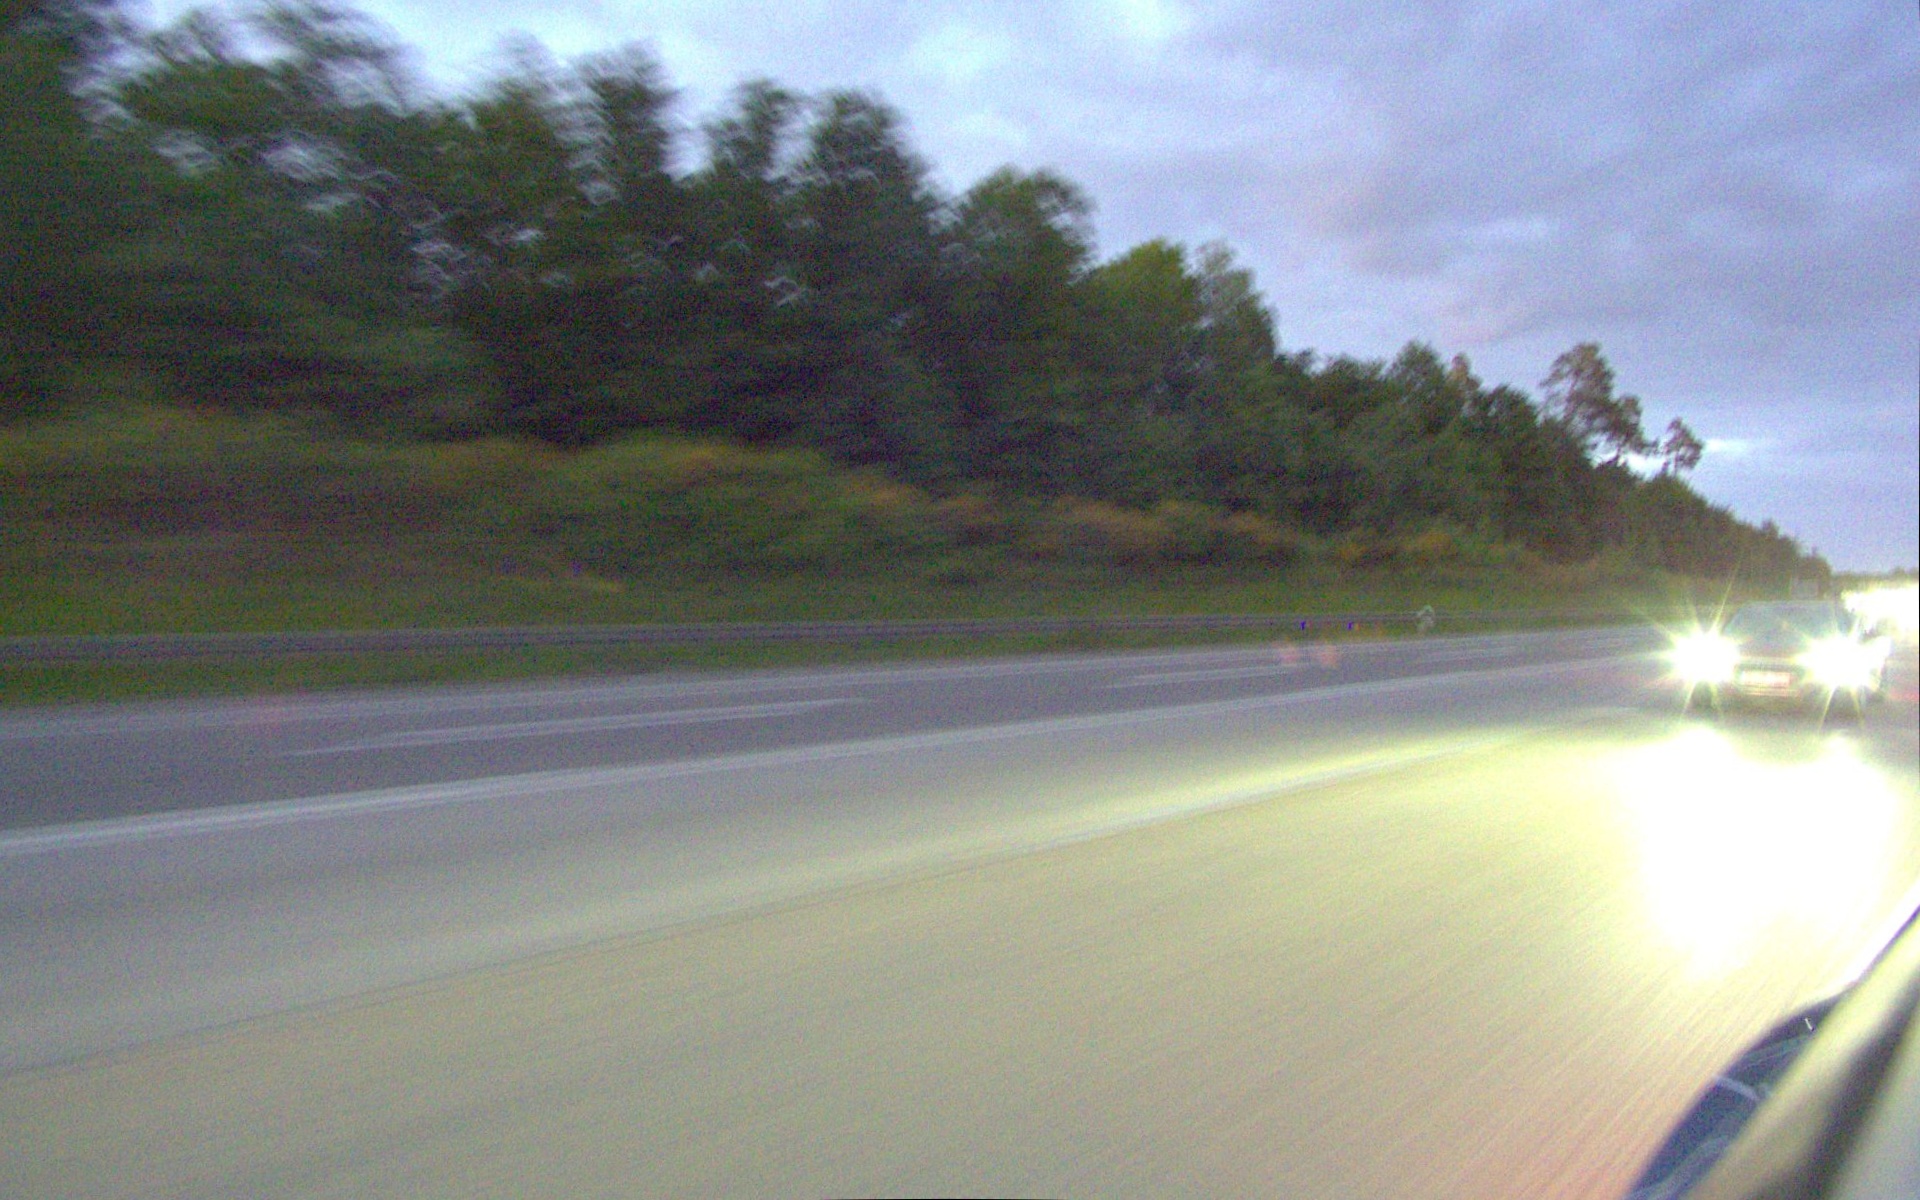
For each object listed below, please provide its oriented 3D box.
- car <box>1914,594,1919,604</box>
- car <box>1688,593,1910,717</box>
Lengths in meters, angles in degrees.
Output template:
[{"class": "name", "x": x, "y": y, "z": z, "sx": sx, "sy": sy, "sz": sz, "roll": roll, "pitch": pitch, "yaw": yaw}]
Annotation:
[{"class": "car", "x": 152.516, "y": -0.140, "z": 160.217, "sx": 3.933, "sy": 1.568, "sz": 1.995, "roll": 0, "pitch": 0, "yaw": -44}, {"class": "car", "x": 11.881, "y": 0.652, "z": 14.228, "sx": 4.376, "sy": 1.461, "sz": 1.877, "roll": 0, "pitch": 0, "yaw": -43}]
